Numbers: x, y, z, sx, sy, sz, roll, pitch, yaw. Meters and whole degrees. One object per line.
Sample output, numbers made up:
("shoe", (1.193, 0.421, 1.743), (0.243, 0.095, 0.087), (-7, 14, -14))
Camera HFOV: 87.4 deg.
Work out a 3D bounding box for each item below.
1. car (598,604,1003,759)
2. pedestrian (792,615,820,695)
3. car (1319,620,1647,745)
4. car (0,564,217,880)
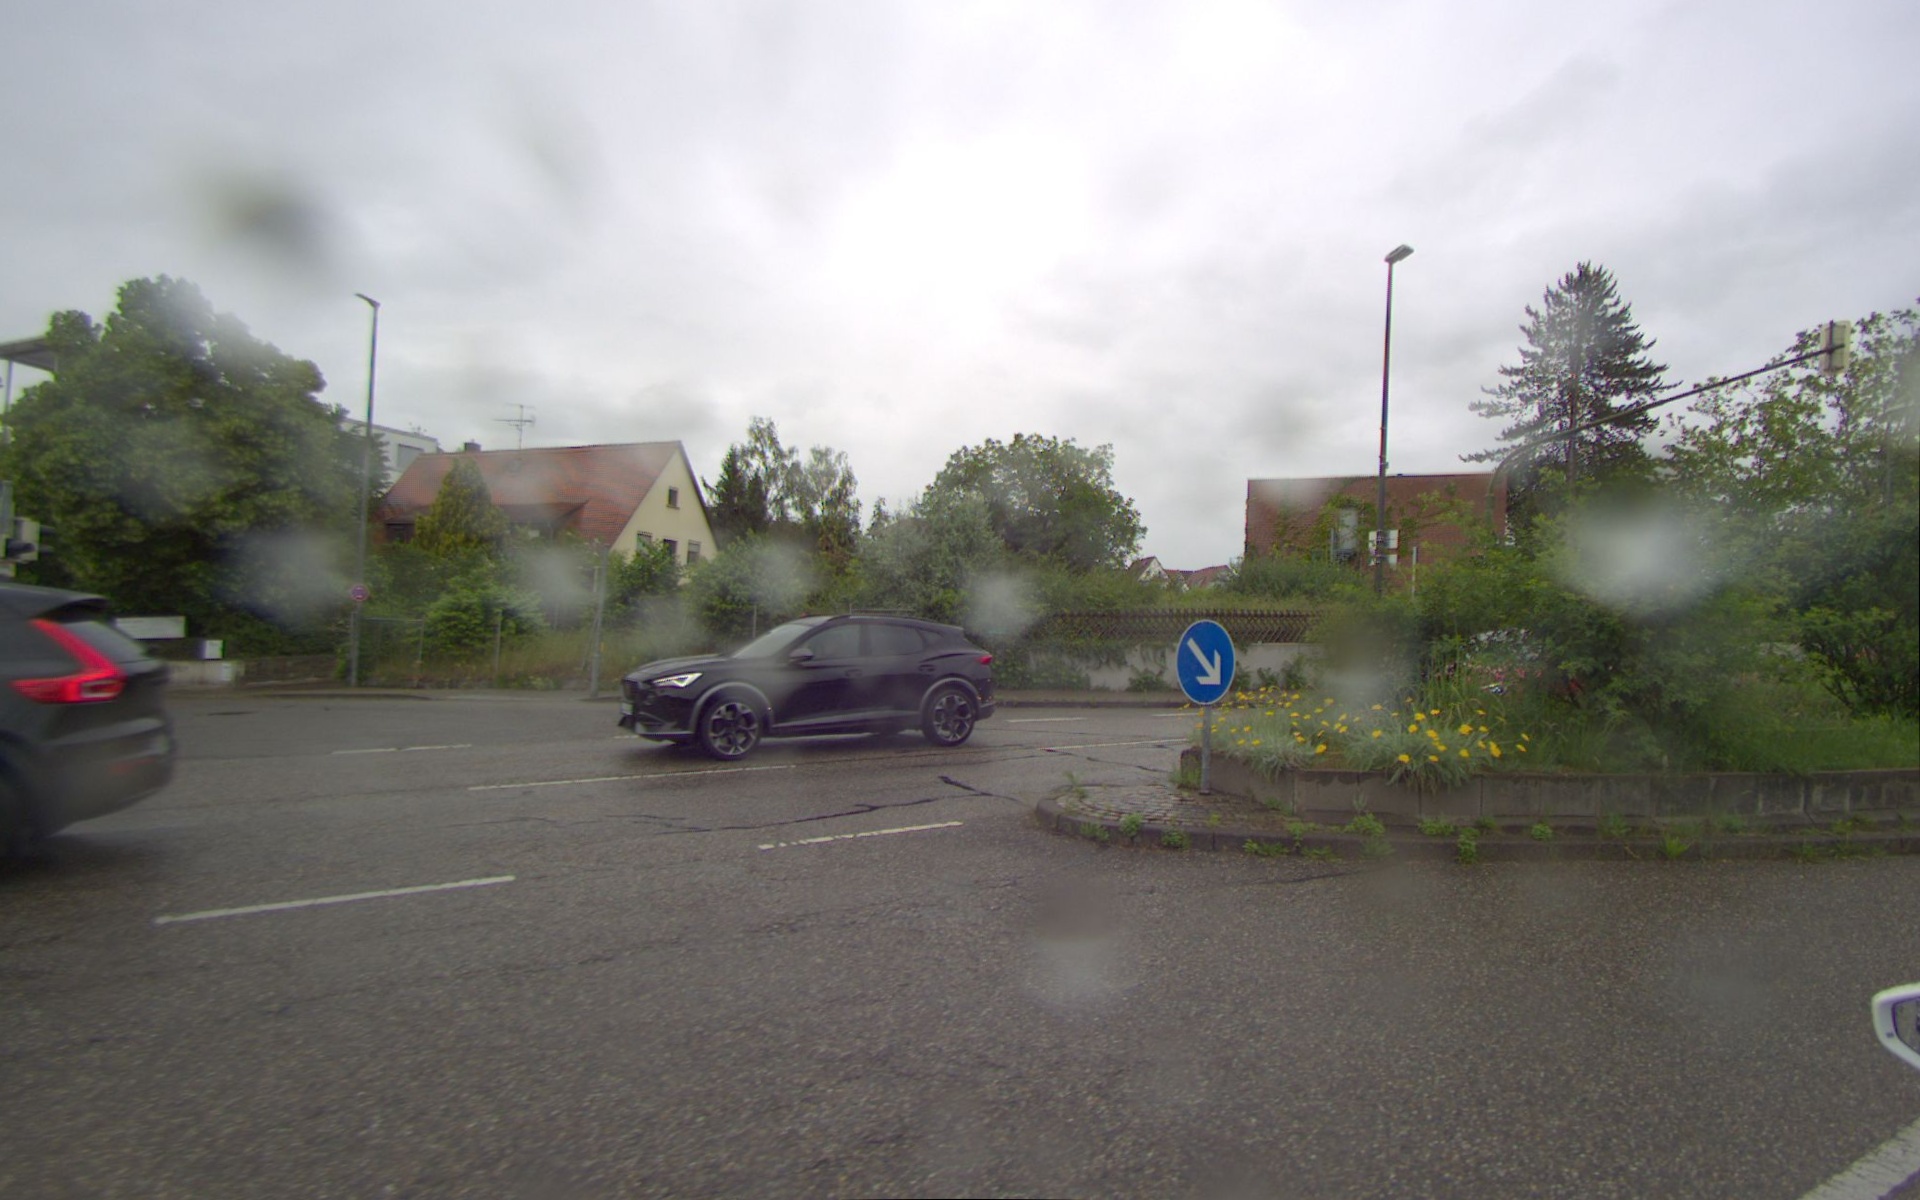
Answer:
("car", (-1.782, 0.912, 11.716), (4.250, 1.497, 1.939), (3, -4, -33))
("pedestrian", (-3.258, 1.169, 21.328), (0.490, 1.663, 0.553), (0, -2, 0))
("car", (7.151, 1.062, 13.645), (4.381, 1.432, 1.983), (3, -2, -31))
("car", (-6.430, 0.579, 5.105), (4.028, 1.572, 1.893), (2, -2, -31))
